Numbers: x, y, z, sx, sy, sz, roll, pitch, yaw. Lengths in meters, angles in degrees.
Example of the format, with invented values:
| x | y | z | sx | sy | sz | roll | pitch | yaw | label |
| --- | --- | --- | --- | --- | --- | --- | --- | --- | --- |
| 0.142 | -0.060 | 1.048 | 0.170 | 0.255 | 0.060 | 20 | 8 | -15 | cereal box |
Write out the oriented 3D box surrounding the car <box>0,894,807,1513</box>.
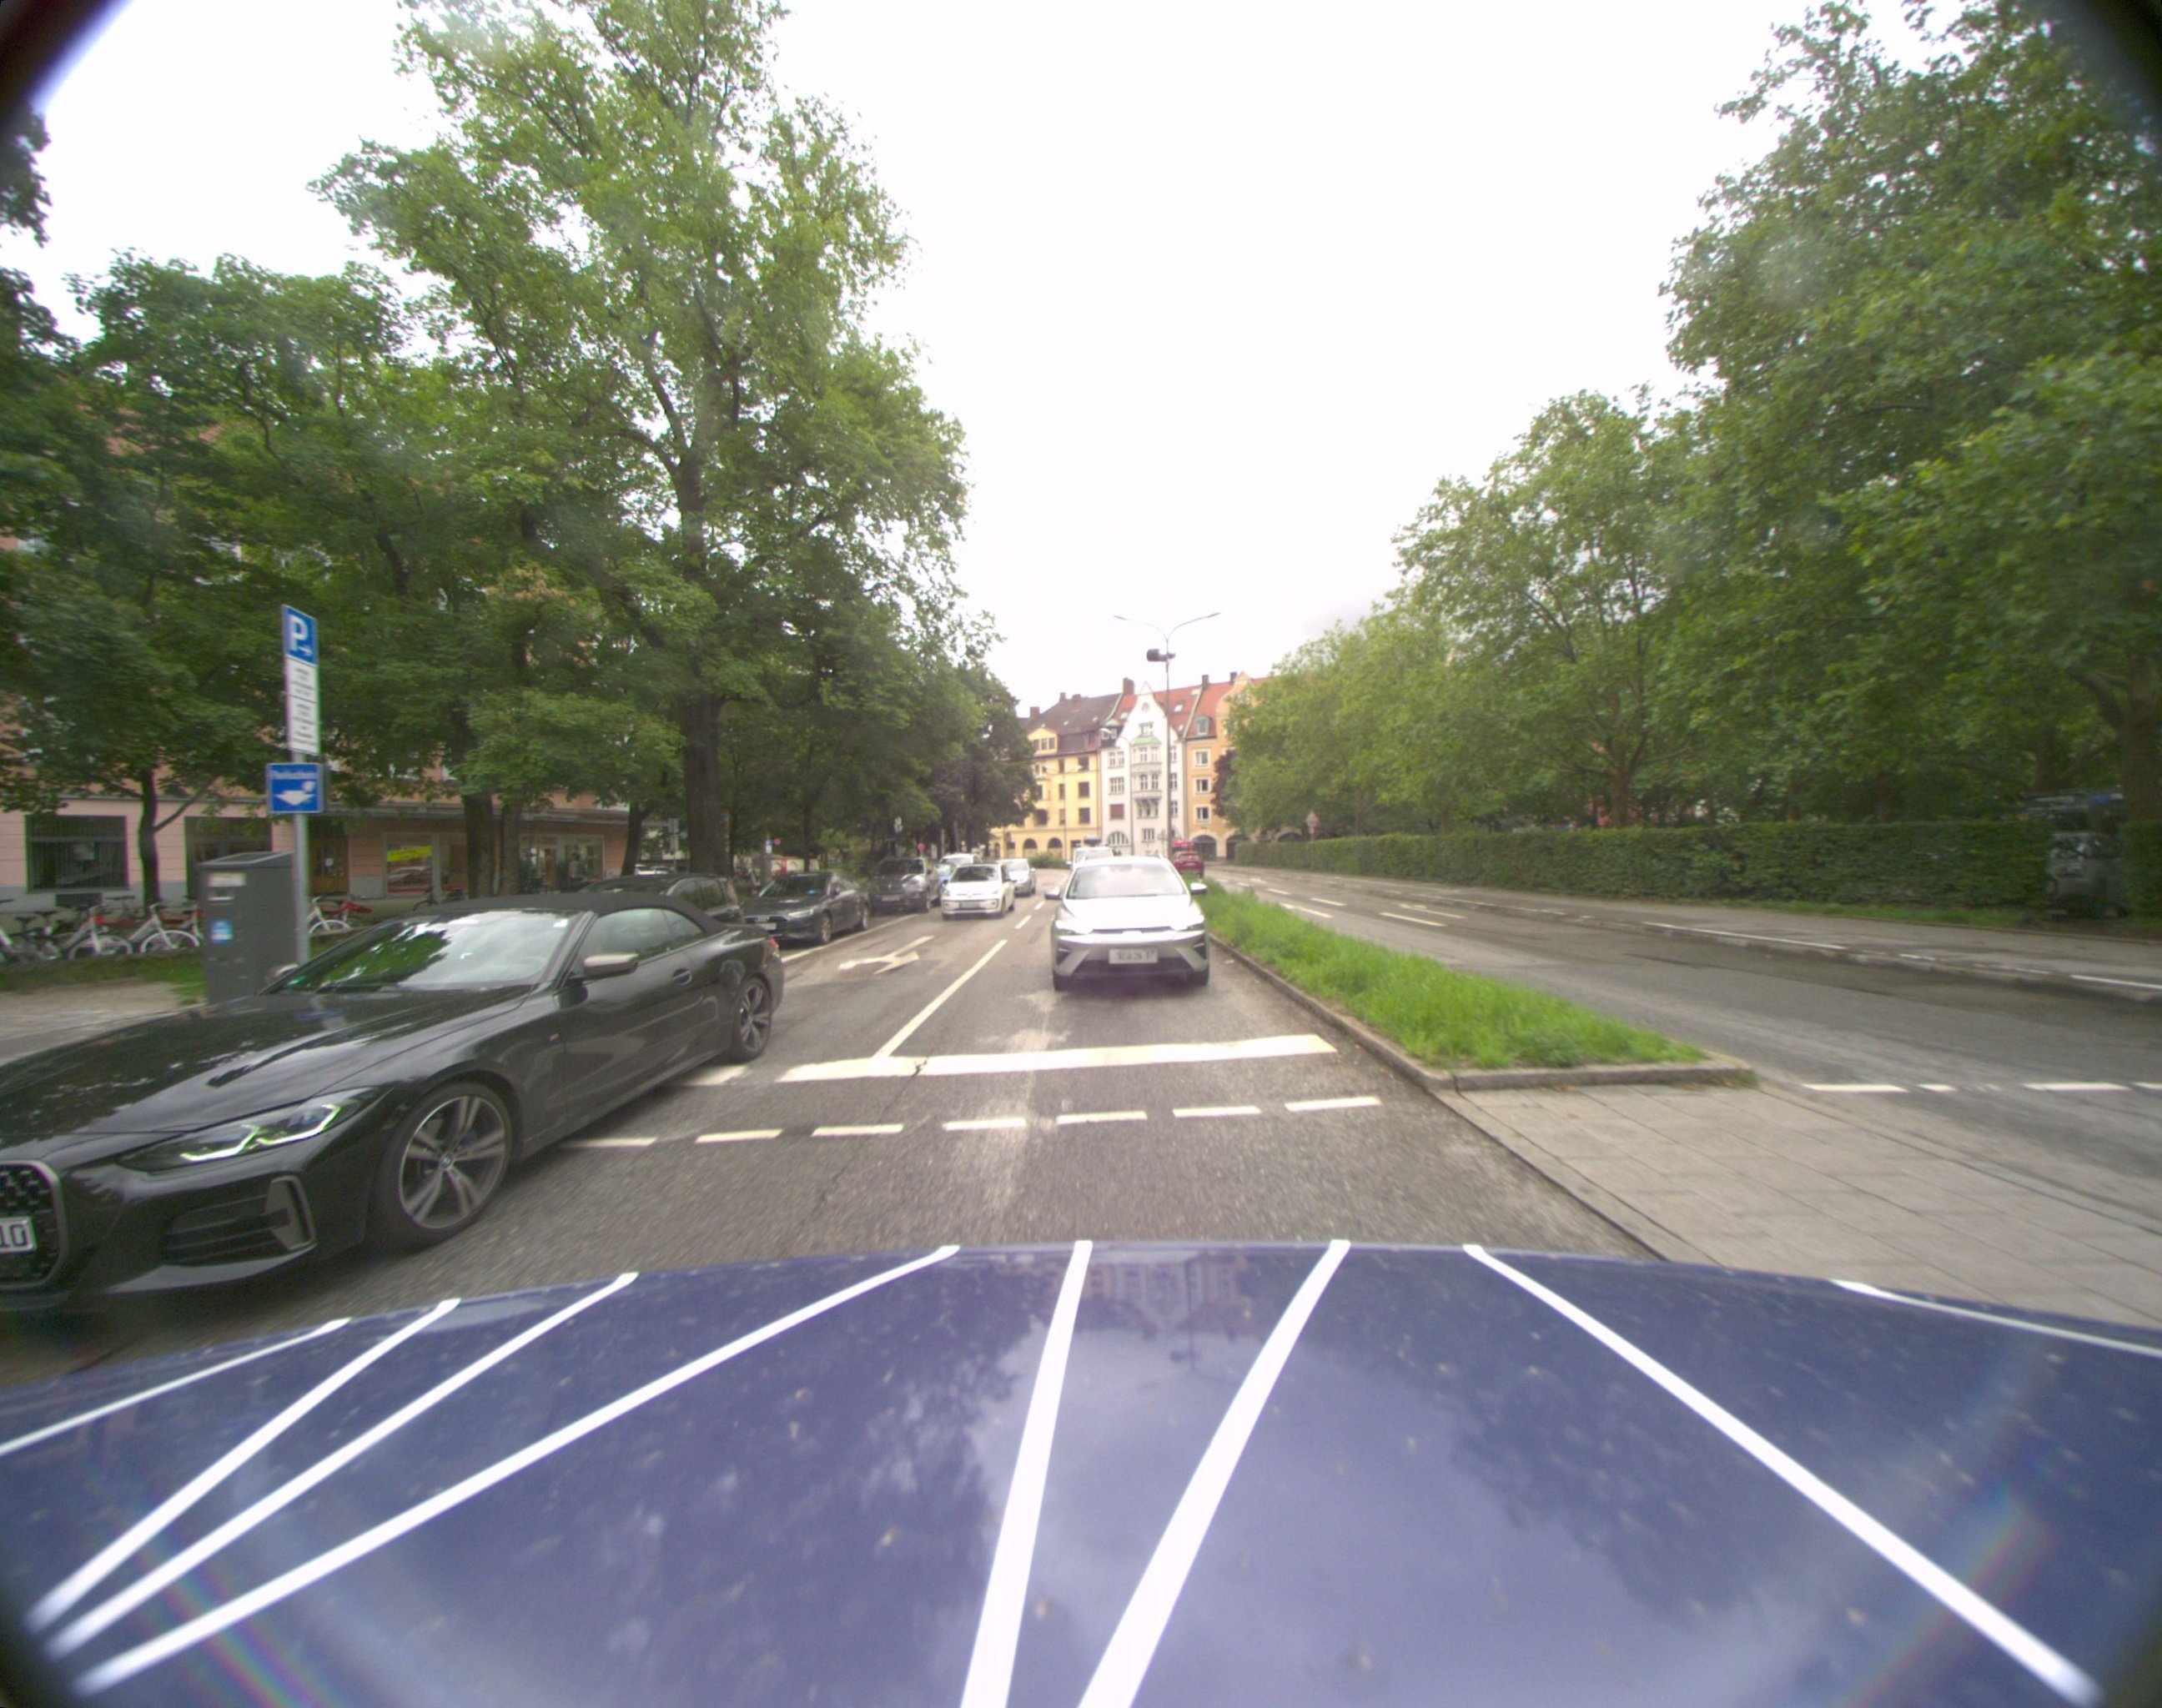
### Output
| x | y | z | sx | sy | sz | roll | pitch | yaw | label |
| --- | --- | --- | --- | --- | --- | --- | --- | --- | --- |
| -3.462 | 1.075 | 4.461 | 1.728 | 1.381 | 4.799 | -1 | 0 | 3 | car |

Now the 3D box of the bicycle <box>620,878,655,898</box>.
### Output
| x | y | z | sx | sy | sz | roll | pitch | yaw | label |
| --- | --- | --- | --- | --- | --- | --- | --- | --- | --- |
| -18.525 | 1.409 | 31.729 | 0.318 | 0.719 | 1.181 | -1 | 2 | 45 | bicycle |

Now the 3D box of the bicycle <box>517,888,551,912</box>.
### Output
| x | y | z | sx | sy | sz | roll | pitch | yaw | label |
| --- | --- | --- | --- | --- | --- | --- | --- | --- | --- |
| -17.394 | 1.457 | 24.151 | 1.176 | 0.719 | 0.319 | -2 | 2 | 27 | bicycle |

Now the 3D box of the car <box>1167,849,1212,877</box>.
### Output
| x | y | z | sx | sy | sz | roll | pitch | yaw | label |
| --- | --- | --- | --- | --- | --- | --- | --- | --- | --- |
| 6.721 | 0.579 | 47.518 | 2.108 | 1.628 | 4.940 | 0 | -1 | 0 | car |

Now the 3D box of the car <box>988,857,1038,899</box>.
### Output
| x | y | z | sx | sy | sz | roll | pitch | yaw | label |
| --- | --- | --- | --- | --- | --- | --- | --- | --- | --- |
| -2.667 | 0.922 | 30.600 | 1.648 | 1.521 | 3.886 | -1 | 0 | 0 | car |

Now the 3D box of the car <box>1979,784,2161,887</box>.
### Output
| x | y | z | sx | sy | sz | roll | pitch | yaw | label |
| --- | --- | --- | --- | --- | --- | --- | --- | --- | --- |
| 28.254 | -0.561 | 20.276 | 5.857 | 2.521 | 2.000 | -3 | 1 | 4 | car |

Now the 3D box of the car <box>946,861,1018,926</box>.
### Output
| x | y | z | sx | sy | sz | roll | pitch | yaw | label |
| --- | --- | --- | --- | --- | --- | --- | --- | --- | --- |
| -2.756 | 1.025 | 21.543 | 1.776 | 1.515 | 4.205 | -2 | 1 | -6 | car |

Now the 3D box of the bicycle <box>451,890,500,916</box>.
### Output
| x | y | z | sx | sy | sz | roll | pitch | yaw | label |
| --- | --- | --- | --- | --- | --- | --- | --- | --- | --- |
| -19.274 | 1.546 | 24.209 | 0.318 | 0.719 | 1.180 | -2 | 1 | 23 | bicycle |

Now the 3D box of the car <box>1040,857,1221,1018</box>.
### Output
| x | y | z | sx | sy | sz | roll | pitch | yaw | label |
| --- | --- | --- | --- | --- | --- | --- | --- | --- | --- |
| 0.617 | 0.866 | 9.829 | 1.774 | 1.515 | 4.209 | -2 | 1 | 3 | car |

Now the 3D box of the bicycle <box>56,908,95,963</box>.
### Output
| x | y | z | sx | sy | sz | roll | pitch | yaw | label |
| --- | --- | --- | --- | --- | --- | --- | --- | --- | --- |
| -17.861 | 1.427 | 13.491 | 1.409 | 0.889 | 0.314 | -2 | 2 | 35 | bicycle |

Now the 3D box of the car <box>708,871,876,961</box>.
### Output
| x | y | z | sx | sy | sz | roll | pitch | yaw | label |
| --- | --- | --- | --- | --- | --- | --- | --- | --- | --- |
| -5.830 | 1.168 | 16.002 | 1.772 | 1.452 | 4.641 | -1 | 0 | -1 | car |

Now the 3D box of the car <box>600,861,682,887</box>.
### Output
| x | y | z | sx | sy | sz | roll | pitch | yaw | label |
| --- | --- | --- | --- | --- | --- | --- | --- | --- | --- |
| -28.671 | 1.284 | 49.574 | 4.436 | 1.458 | 1.862 | -3 | 1 | 10 | car |

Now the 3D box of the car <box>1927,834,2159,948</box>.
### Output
| x | y | z | sx | sy | sz | roll | pitch | yaw | label |
| --- | --- | --- | --- | --- | --- | --- | --- | --- | --- |
| 17.820 | 0.600 | 14.083 | 3.526 | 1.753 | 1.774 | -3 | 1 | -23 | car |

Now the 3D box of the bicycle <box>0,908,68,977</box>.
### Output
| x | y | z | sx | sy | sz | roll | pitch | yaw | label |
| --- | --- | --- | --- | --- | --- | --- | --- | --- | --- |
| -14.801 | 1.221 | 10.468 | 1.411 | 0.889 | 0.313 | -3 | 2 | 8 | bicycle |

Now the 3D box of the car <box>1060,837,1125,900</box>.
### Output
| x | y | z | sx | sy | sz | roll | pitch | yaw | label |
| --- | --- | --- | --- | --- | --- | --- | --- | --- | --- |
| 0.571 | 0.534 | 31.161 | 1.911 | 2.337 | 4.948 | -1 | 0 | 10 | car |

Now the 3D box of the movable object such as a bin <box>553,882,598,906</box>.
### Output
| x | y | z | sx | sy | sz | roll | pitch | yaw | label |
| --- | --- | --- | --- | --- | --- | --- | --- | --- | --- |
| -19.357 | 1.533 | 29.115 | 1.179 | 0.867 | 0.774 | -1 | 1 | 9 | movable object such as a bin |

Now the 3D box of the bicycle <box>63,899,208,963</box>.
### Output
| x | y | z | sx | sy | sz | roll | pitch | yaw | label |
| --- | --- | --- | --- | --- | --- | --- | --- | --- | --- |
| -14.927 | 1.200 | 12.033 | 1.414 | 0.889 | 0.312 | -2 | 1 | -25 | bicycle |

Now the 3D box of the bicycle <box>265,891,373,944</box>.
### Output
| x | y | z | sx | sy | sz | roll | pitch | yaw | label |
| --- | --- | --- | --- | --- | --- | --- | --- | --- | --- |
| -14.971 | 1.230 | 14.965 | 1.415 | 0.889 | 0.312 | -4 | 2 | -36 | bicycle |

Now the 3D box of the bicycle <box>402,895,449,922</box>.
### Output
| x | y | z | sx | sy | sz | roll | pitch | yaw | label |
| --- | --- | --- | --- | --- | --- | --- | --- | --- | --- |
| -19.031 | 1.572 | 22.052 | 1.177 | 0.719 | 0.319 | -3 | 2 | 10 | bicycle |

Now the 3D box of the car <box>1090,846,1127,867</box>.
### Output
| x | y | z | sx | sy | sz | roll | pitch | yaw | label |
| --- | --- | --- | --- | --- | --- | --- | --- | --- | --- |
| 2.692 | 0.248 | 75.907 | 1.865 | 1.979 | 4.695 | -1 | 0 | -23 | car |

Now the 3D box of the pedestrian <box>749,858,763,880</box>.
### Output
| x | y | z | sx | sy | sz | roll | pitch | yaw | label |
| --- | --- | --- | --- | --- | --- | --- | --- | --- | --- |
| -22.928 | 1.040 | 53.656 | 0.602 | 1.543 | 0.644 | -3 | 2 | 7 | pedestrian |

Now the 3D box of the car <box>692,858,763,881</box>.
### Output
| x | y | z | sx | sy | sz | roll | pitch | yaw | label |
| --- | --- | --- | --- | --- | --- | --- | --- | --- | --- |
| -26.254 | 1.168 | 56.527 | 4.436 | 1.458 | 1.862 | -3 | 1 | 10 | car |

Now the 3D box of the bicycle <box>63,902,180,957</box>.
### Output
| x | y | z | sx | sy | sz | roll | pitch | yaw | label |
| --- | --- | --- | --- | --- | --- | --- | --- | --- | --- |
| -18.644 | 1.442 | 14.809 | 0.313 | 0.889 | 1.413 | -3 | 1 | 7 | bicycle |

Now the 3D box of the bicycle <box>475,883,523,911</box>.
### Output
| x | y | z | sx | sy | sz | roll | pitch | yaw | label |
| --- | --- | --- | --- | --- | --- | --- | --- | --- | --- |
| -17.354 | 1.274 | 22.682 | 0.318 | 0.719 | 1.179 | -2 | 1 | 12 | bicycle |

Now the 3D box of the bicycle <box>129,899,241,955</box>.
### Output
| x | y | z | sx | sy | sz | roll | pitch | yaw | label |
| --- | --- | --- | --- | --- | --- | --- | --- | --- | --- |
| -17.110 | 1.373 | 14.555 | 0.313 | 0.889 | 1.413 | -3 | 1 | 7 | bicycle |

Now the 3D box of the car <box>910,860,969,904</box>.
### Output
| x | y | z | sx | sy | sz | roll | pitch | yaw | label |
| --- | --- | --- | --- | --- | --- | --- | --- | --- | --- |
| -5.402 | 1.038 | 29.381 | 1.523 | 1.540 | 3.662 | -1 | 0 | 1 | car |

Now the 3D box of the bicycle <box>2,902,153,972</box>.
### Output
| x | y | z | sx | sy | sz | roll | pitch | yaw | label |
| --- | --- | --- | --- | --- | --- | --- | --- | --- | --- |
| -14.617 | 1.202 | 11.091 | 1.413 | 0.889 | 0.313 | -3 | 2 | -13 | bicycle |

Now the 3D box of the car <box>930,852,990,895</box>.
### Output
| x | y | z | sx | sy | sz | roll | pitch | yaw | label |
| --- | --- | --- | --- | --- | --- | --- | --- | --- | --- |
| -5.509 | 0.833 | 35.325 | 1.848 | 1.845 | 5.024 | -1 | 0 | 1 | car |

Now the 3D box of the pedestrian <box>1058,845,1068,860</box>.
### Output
| x | y | z | sx | sy | sz | roll | pitch | yaw | label |
| --- | --- | --- | --- | --- | --- | --- | --- | --- | --- |
| -2.465 | -0.169 | 106.347 | 1.005 | 2.002 | 0.880 | -2 | 2 | 34 | pedestrian |

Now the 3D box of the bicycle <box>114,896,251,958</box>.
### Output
| x | y | z | sx | sy | sz | roll | pitch | yaw | label |
| --- | --- | --- | --- | --- | --- | --- | --- | --- | --- |
| -15.187 | 1.210 | 12.881 | 1.415 | 0.889 | 0.312 | -4 | 2 | -36 | bicycle |

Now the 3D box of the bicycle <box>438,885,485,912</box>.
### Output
| x | y | z | sx | sy | sz | roll | pitch | yaw | label |
| --- | --- | --- | --- | --- | --- | --- | --- | --- | --- |
| -17.800 | 1.286 | 21.827 | 1.177 | 0.719 | 0.319 | -3 | 2 | 10 | bicycle |

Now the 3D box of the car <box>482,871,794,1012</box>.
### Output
| x | y | z | sx | sy | sz | roll | pitch | yaw | label |
| --- | --- | --- | --- | --- | --- | --- | --- | --- | --- |
| -6.158 | 1.095 | 11.357 | 1.835 | 1.540 | 4.555 | -1 | 0 | 2 | car |

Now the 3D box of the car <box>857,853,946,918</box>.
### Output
| x | y | z | sx | sy | sz | roll | pitch | yaw | label |
| --- | --- | --- | --- | --- | --- | --- | --- | --- | --- |
| -5.547 | 0.906 | 24.083 | 1.937 | 1.809 | 4.552 | -1 | 0 | -3 | car |

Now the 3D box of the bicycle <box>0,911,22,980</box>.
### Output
| x | y | z | sx | sy | sz | roll | pitch | yaw | label |
| --- | --- | --- | --- | --- | --- | --- | --- | --- | --- |
| -14.865 | 1.232 | 10.056 | 1.411 | 0.889 | 0.313 | -3 | 2 | 8 | bicycle |

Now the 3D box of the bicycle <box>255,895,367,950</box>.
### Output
| x | y | z | sx | sy | sz | roll | pitch | yaw | label |
| --- | --- | --- | --- | --- | --- | --- | --- | --- | --- |
| -14.576 | 1.286 | 14.416 | 1.415 | 0.889 | 0.312 | -4 | 2 | -36 | bicycle |

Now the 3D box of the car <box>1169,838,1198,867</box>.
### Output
| x | y | z | sx | sy | sz | roll | pitch | yaw | label |
| --- | --- | --- | --- | --- | --- | --- | --- | --- | --- |
| 9.325 | -0.107 | 69.482 | 2.108 | 2.573 | 6.083 | 0 | -1 | 3 | car |
